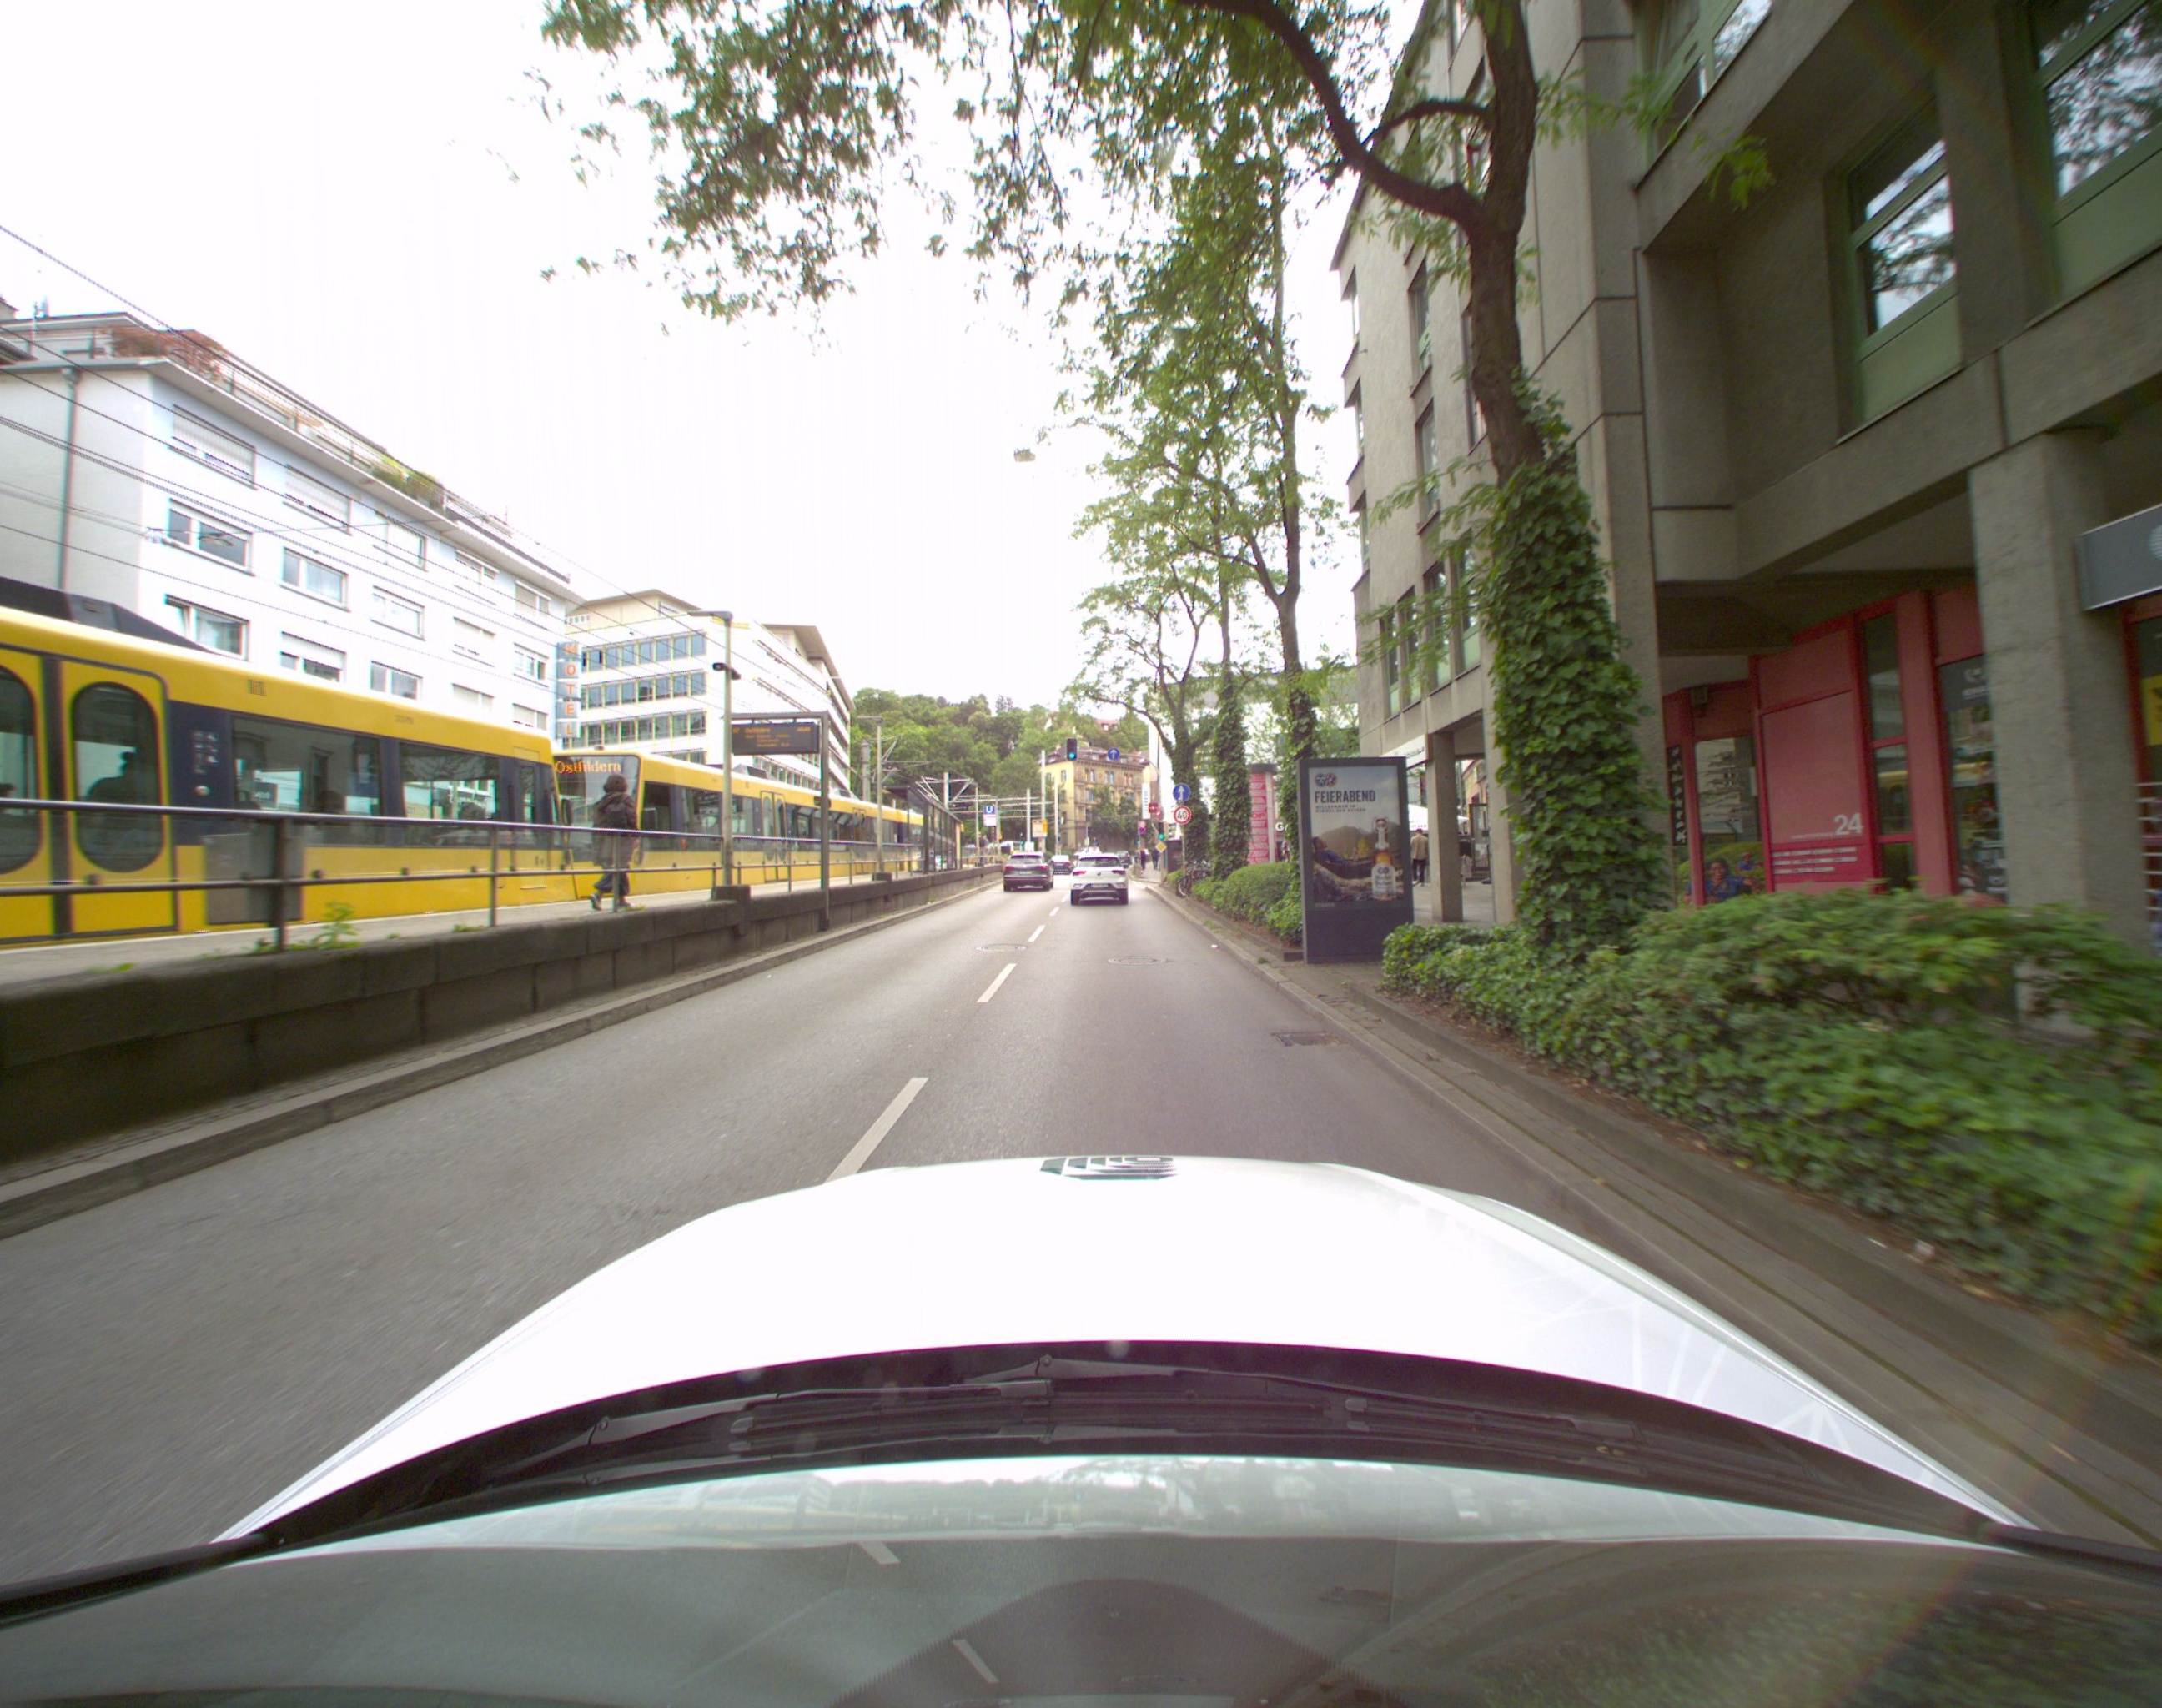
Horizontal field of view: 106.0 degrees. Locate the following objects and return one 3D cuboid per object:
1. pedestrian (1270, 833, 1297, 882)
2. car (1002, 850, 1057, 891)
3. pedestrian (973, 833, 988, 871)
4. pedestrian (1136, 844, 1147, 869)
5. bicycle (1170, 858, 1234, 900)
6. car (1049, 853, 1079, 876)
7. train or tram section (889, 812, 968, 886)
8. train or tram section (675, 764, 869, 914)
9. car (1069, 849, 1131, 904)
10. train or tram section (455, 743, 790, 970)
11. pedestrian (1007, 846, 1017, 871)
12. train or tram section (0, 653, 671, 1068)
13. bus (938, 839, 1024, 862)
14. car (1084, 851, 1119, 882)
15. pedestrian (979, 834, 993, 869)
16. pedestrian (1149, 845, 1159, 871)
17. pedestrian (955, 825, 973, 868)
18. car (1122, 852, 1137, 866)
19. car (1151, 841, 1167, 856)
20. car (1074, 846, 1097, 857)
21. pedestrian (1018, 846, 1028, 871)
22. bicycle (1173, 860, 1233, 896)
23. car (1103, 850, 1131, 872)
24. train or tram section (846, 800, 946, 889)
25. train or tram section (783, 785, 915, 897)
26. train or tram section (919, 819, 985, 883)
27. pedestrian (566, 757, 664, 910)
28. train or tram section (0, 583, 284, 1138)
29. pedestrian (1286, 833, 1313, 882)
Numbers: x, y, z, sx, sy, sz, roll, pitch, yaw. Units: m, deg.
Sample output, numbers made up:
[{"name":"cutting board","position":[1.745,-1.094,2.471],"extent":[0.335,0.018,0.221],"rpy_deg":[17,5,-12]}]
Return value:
[{"name":"pedestrian","position":[6.744,0.129,27.146],"extent":[0.637,1.615,0.584],"rpy_deg":[1,-2,-18]},{"name":"car","position":[-2.172,0.689,35.403],"extent":[1.986,1.636,4.001],"rpy_deg":[-1,0,1]},{"name":"pedestrian","position":[-5.406,-0.108,43.925],"extent":[0.761,2.014,0.837],"rpy_deg":[0,-2,-5]},{"name":"pedestrian","position":[4.841,0.216,65.148],"extent":[0.758,2.014,0.840],"rpy_deg":[0,-2,7]},{"name":"bicycle","position":[3.697,0.761,24.793],"extent":[1.868,1.266,0.767],"rpy_deg":[-1,-2,13]},{"name":"car","position":[-1.270,0.745,62.205],"extent":[1.903,1.689,4.005],"rpy_deg":[0,0,4]},{"name":"train or tram section","position":[-7.983,-0.205,43.551],"extent":[2.803,3.666,6.752],"rpy_deg":[0,-1,1]},{"name":"train or tram section","position":[-8.445,-0.326,23.291],"extent":[2.803,3.666,6.752],"rpy_deg":[0,-1,1]},{"name":"car","position":[0.682,0.690,26.323],"extent":[1.830,1.584,4.160],"rpy_deg":[-1,0,3]},{"name":"train or tram section","position":[-8.590,0.080,16.502],"extent":[2.803,3.666,6.752],"rpy_deg":[0,-1,1]},{"name":"pedestrian","position":[-5.539,0.388,65.377],"extent":[0.759,2.014,0.838],"rpy_deg":[0,-2,2]},{"name":"train or tram section","position":[-8.599,0.098,10.608],"extent":[2.802,3.666,6.755],"rpy_deg":[0,-1,3]},{"name":"bus","position":[-14.902,-0.489,121.158],"extent":[13.154,3.065,3.403],"rpy_deg":[-1,-2,29]},{"name":"car","position":[1.175,0.720,45.998],"extent":[1.877,1.684,4.162],"rpy_deg":[0,-2,2]},{"name":"pedestrian","position":[-5.525,-0.149,47.537],"extent":[0.761,2.014,0.837],"rpy_deg":[0,-2,-5]},{"name":"pedestrian","position":[5.783,0.330,64.468],"extent":[0.758,2.014,0.840],"rpy_deg":[0,-2,7]},{"name":"pedestrian","position":[-5.556,-0.349,38.696],"extent":[0.761,2.014,0.837],"rpy_deg":[0,-2,-5]},{"name":"car","position":[6.282,0.684,104.567],"extent":[1.876,1.684,4.166],"rpy_deg":[0,-2,4]},{"name":"car","position":[11.925,-0.845,124.268],"extent":[2.353,2.014,5.155],"rpy_deg":[0,-2,6]},{"name":"car","position":[0.756,-0.385,134.090],"extent":[1.893,1.689,4.025],"rpy_deg":[0,0,36]},{"name":"pedestrian","position":[-4.697,0.350,66.232],"extent":[0.759,2.014,0.839],"rpy_deg":[0,-2,2]},{"name":"bicycle","position":[3.929,0.784,26.279],"extent":[1.870,1.137,0.810],"rpy_deg":[0,-2,8]},{"name":"car","position":[2.973,0.609,68.367],"extent":[1.881,1.684,4.154],"rpy_deg":[0,-2,-4]},{"name":"train or tram section","position":[-8.138,-0.342,36.794],"extent":[2.803,3.666,6.752],"rpy_deg":[0,-1,1]},{"name":"train or tram section","position":[-8.282,-0.370,30.042],"extent":[2.803,3.666,6.752],"rpy_deg":[0,-1,1]},{"name":"train or tram section","position":[-7.837,-0.111,50.307],"extent":[2.803,3.666,6.752],"rpy_deg":[0,-1,1]},{"name":"pedestrian","position":[-5.625,-0.240,9.868],"extent":[0.624,1.762,0.847],"rpy_deg":[-2,0,2]},{"name":"train or tram section","position":[-8.600,0.031,4.270],"extent":[2.802,3.666,5.906],"rpy_deg":[0,-1,3]},{"name":"pedestrian","position":[7.344,0.131,27.372],"extent":[0.637,1.608,0.584],"rpy_deg":[1,-2,-18]}]
